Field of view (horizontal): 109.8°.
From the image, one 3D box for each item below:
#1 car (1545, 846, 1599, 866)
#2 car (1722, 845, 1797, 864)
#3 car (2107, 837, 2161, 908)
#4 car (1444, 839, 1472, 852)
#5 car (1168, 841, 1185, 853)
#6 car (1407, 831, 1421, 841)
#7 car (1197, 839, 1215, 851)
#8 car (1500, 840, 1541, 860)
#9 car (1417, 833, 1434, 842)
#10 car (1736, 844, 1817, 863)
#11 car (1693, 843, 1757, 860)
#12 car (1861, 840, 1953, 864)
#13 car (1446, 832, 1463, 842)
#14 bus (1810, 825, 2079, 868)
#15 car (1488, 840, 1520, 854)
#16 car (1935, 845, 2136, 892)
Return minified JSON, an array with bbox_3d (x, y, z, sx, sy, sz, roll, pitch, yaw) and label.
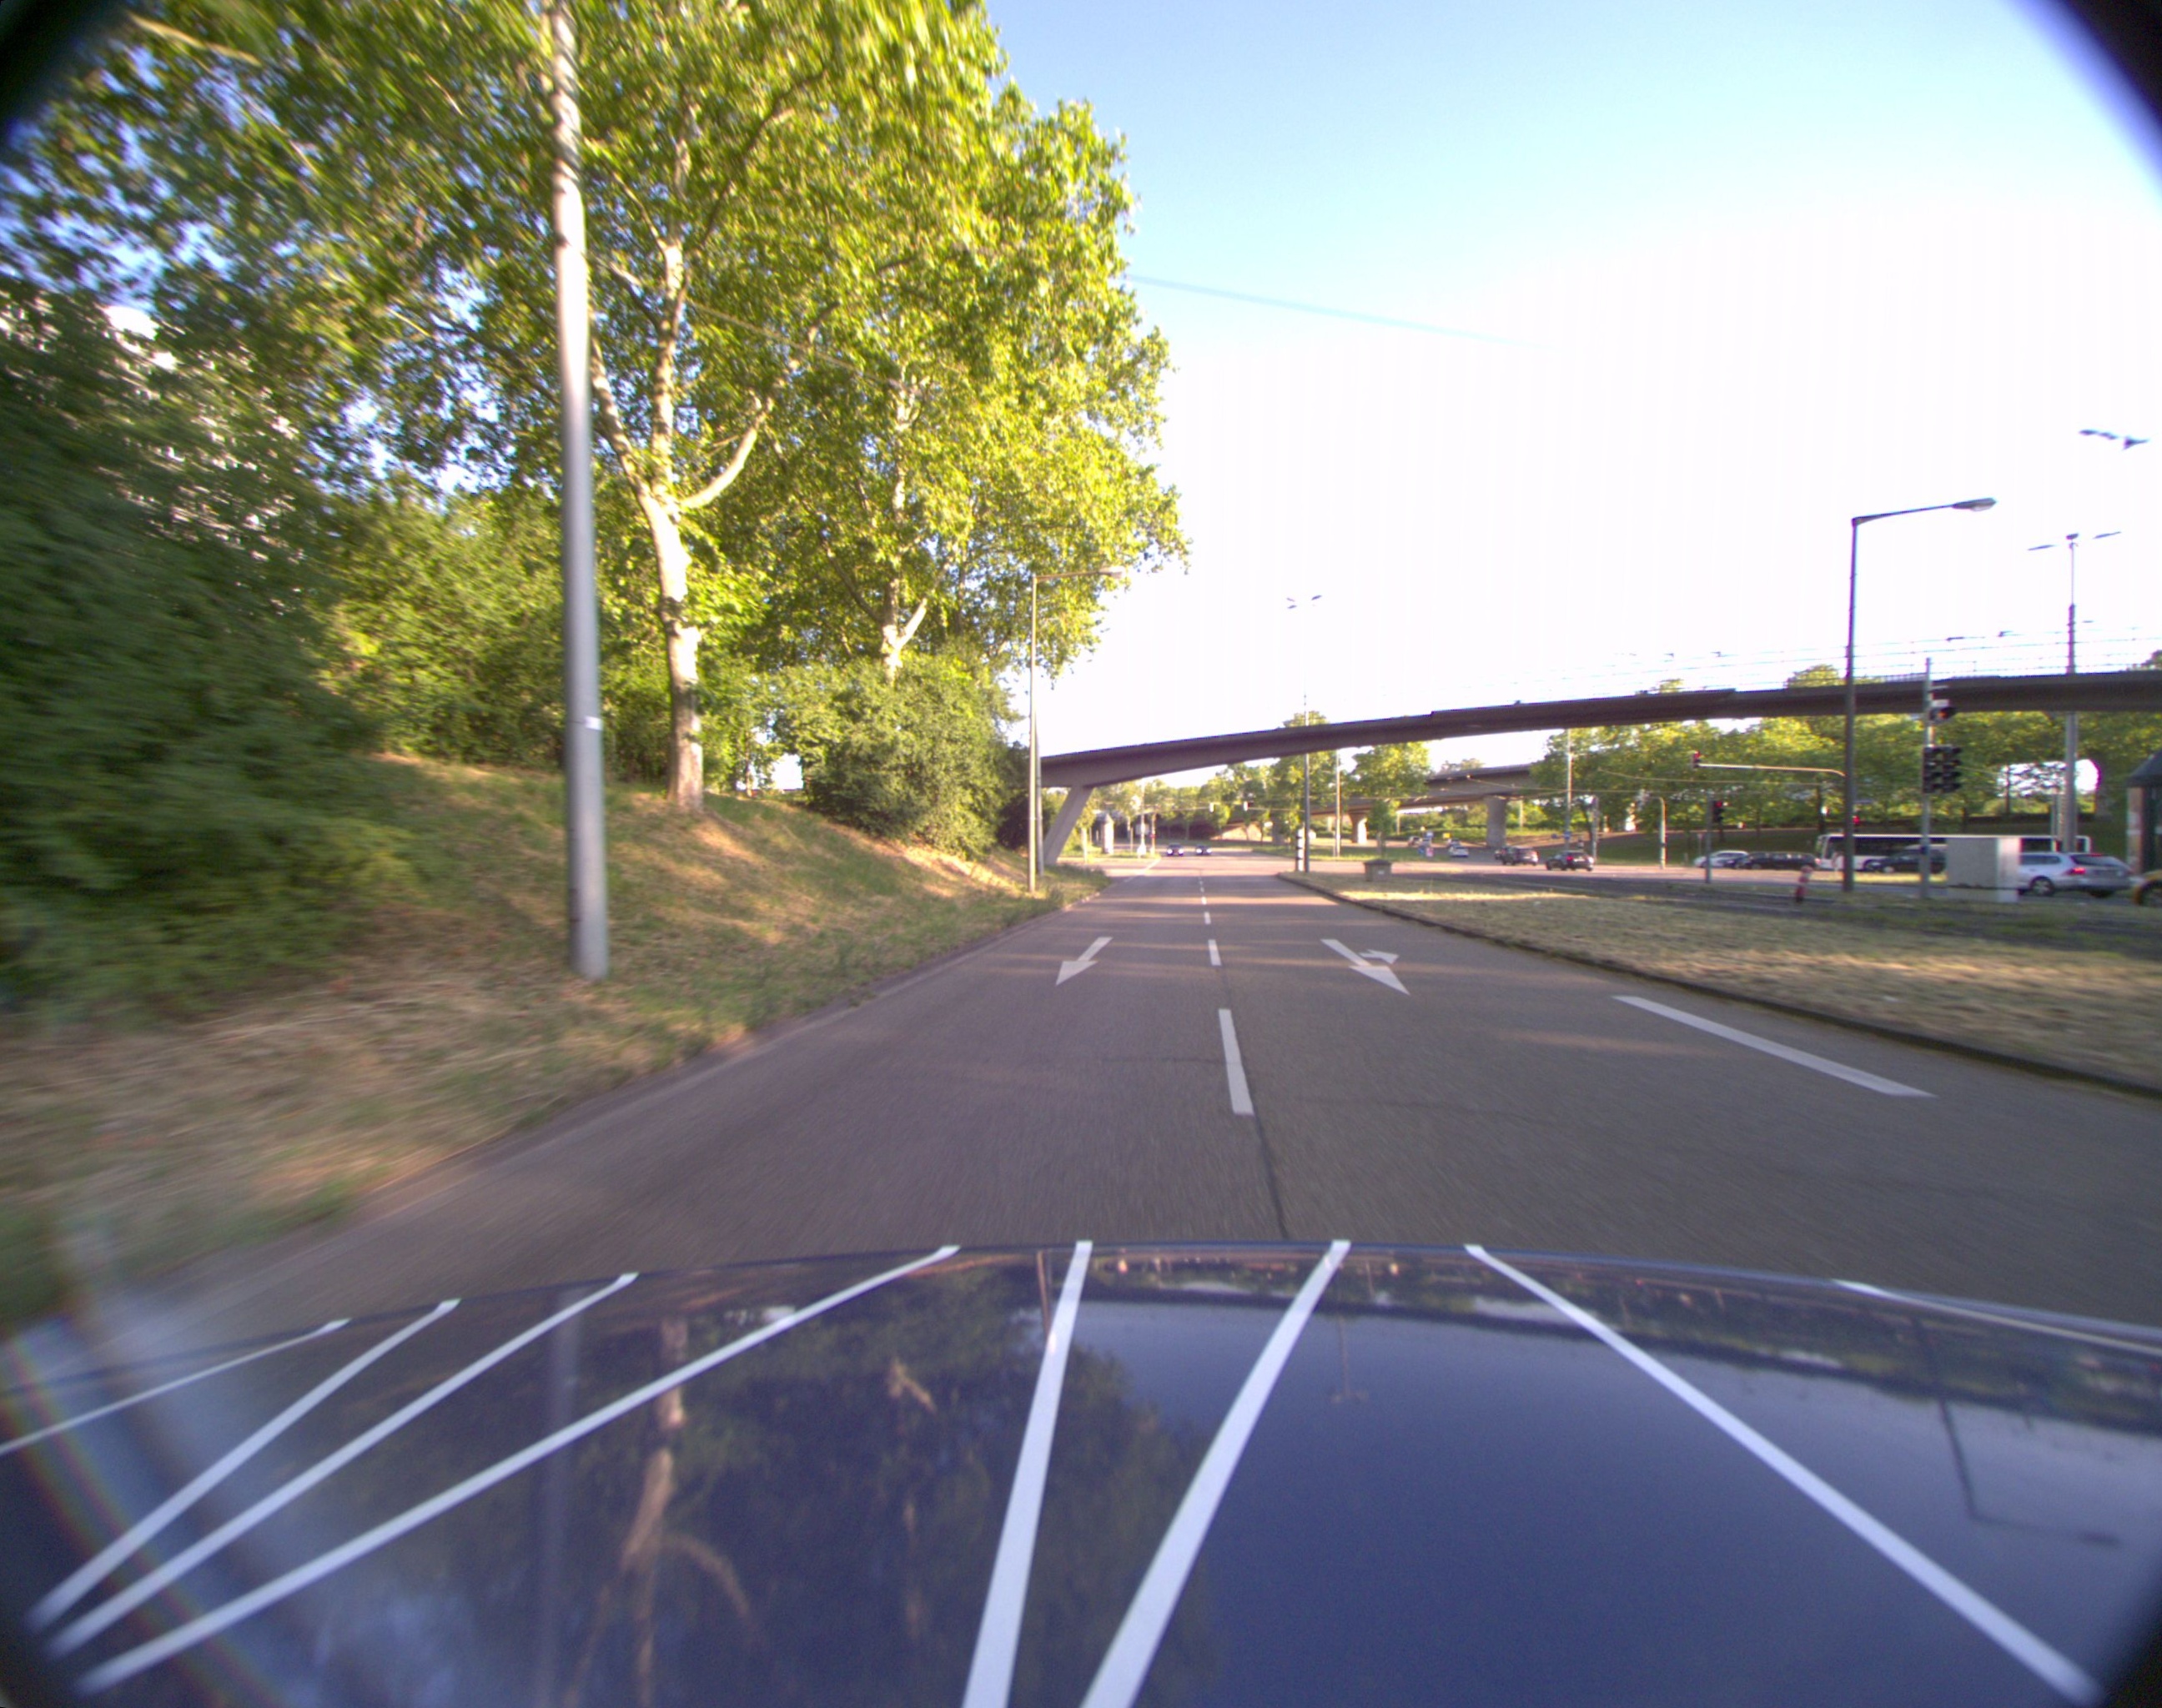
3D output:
[{"bbox_3d":[33.722,0.105,52.329,1.689,1.303,4.312,-1,1,12],"label":"car"},{"bbox_3d":[52.081,0.022,58.435,3.989,1.346,1.612,1,2,28],"label":"car"},{"bbox_3d":[22.707,0.393,14.214,1.842,1.408,4.020,-1,1,7],"label":"car"},{"bbox_3d":[45.543,-1.030,91.847,2.008,1.435,4.864,-1,1,14],"label":"car"},{"bbox_3d":[12.228,-0.856,97.784,1.998,1.477,4.001,-1,1,5],"label":"car"},{"bbox_3d":[63.071,-3.475,143.959,1.853,1.857,4.149,0,2,15],"label":"car"},{"bbox_3d":[16.784,-1.225,102.061,1.998,1.477,4.001,-1,1,4],"label":"car"},{"bbox_3d":[37.503,-0.370,65.004,1.793,1.641,4.360,-1,1,12],"label":"car"},{"bbox_3d":[60.721,-2.970,133.943,1.853,1.600,4.311,0,2,14],"label":"car"},{"bbox_3d":[50.961,-0.052,55.777,4.083,1.346,1.719,1,2,31],"label":"car"},{"bbox_3d":[52.729,-0.219,62.315,3.724,1.346,1.612,1,2,28],"label":"car"},{"bbox_3d":[58.726,-0.140,54.144,4.083,1.643,1.719,1,2,31],"label":"car"},{"bbox_3d":[62.692,-2.918,127.705,1.853,1.600,4.375,0,2,16],"label":"car"},{"bbox_3d":[63.033,-0.588,56.198,12.816,2.938,2.836,1,2,32],"label":"bus"},{"bbox_3d":[46.209,-0.745,83.083,2.008,1.435,4.257,-1,1,14],"label":"car"},{"bbox_3d":[32.279,0.422,25.936,1.689,1.408,4.440,-1,1,9],"label":"car"}]
